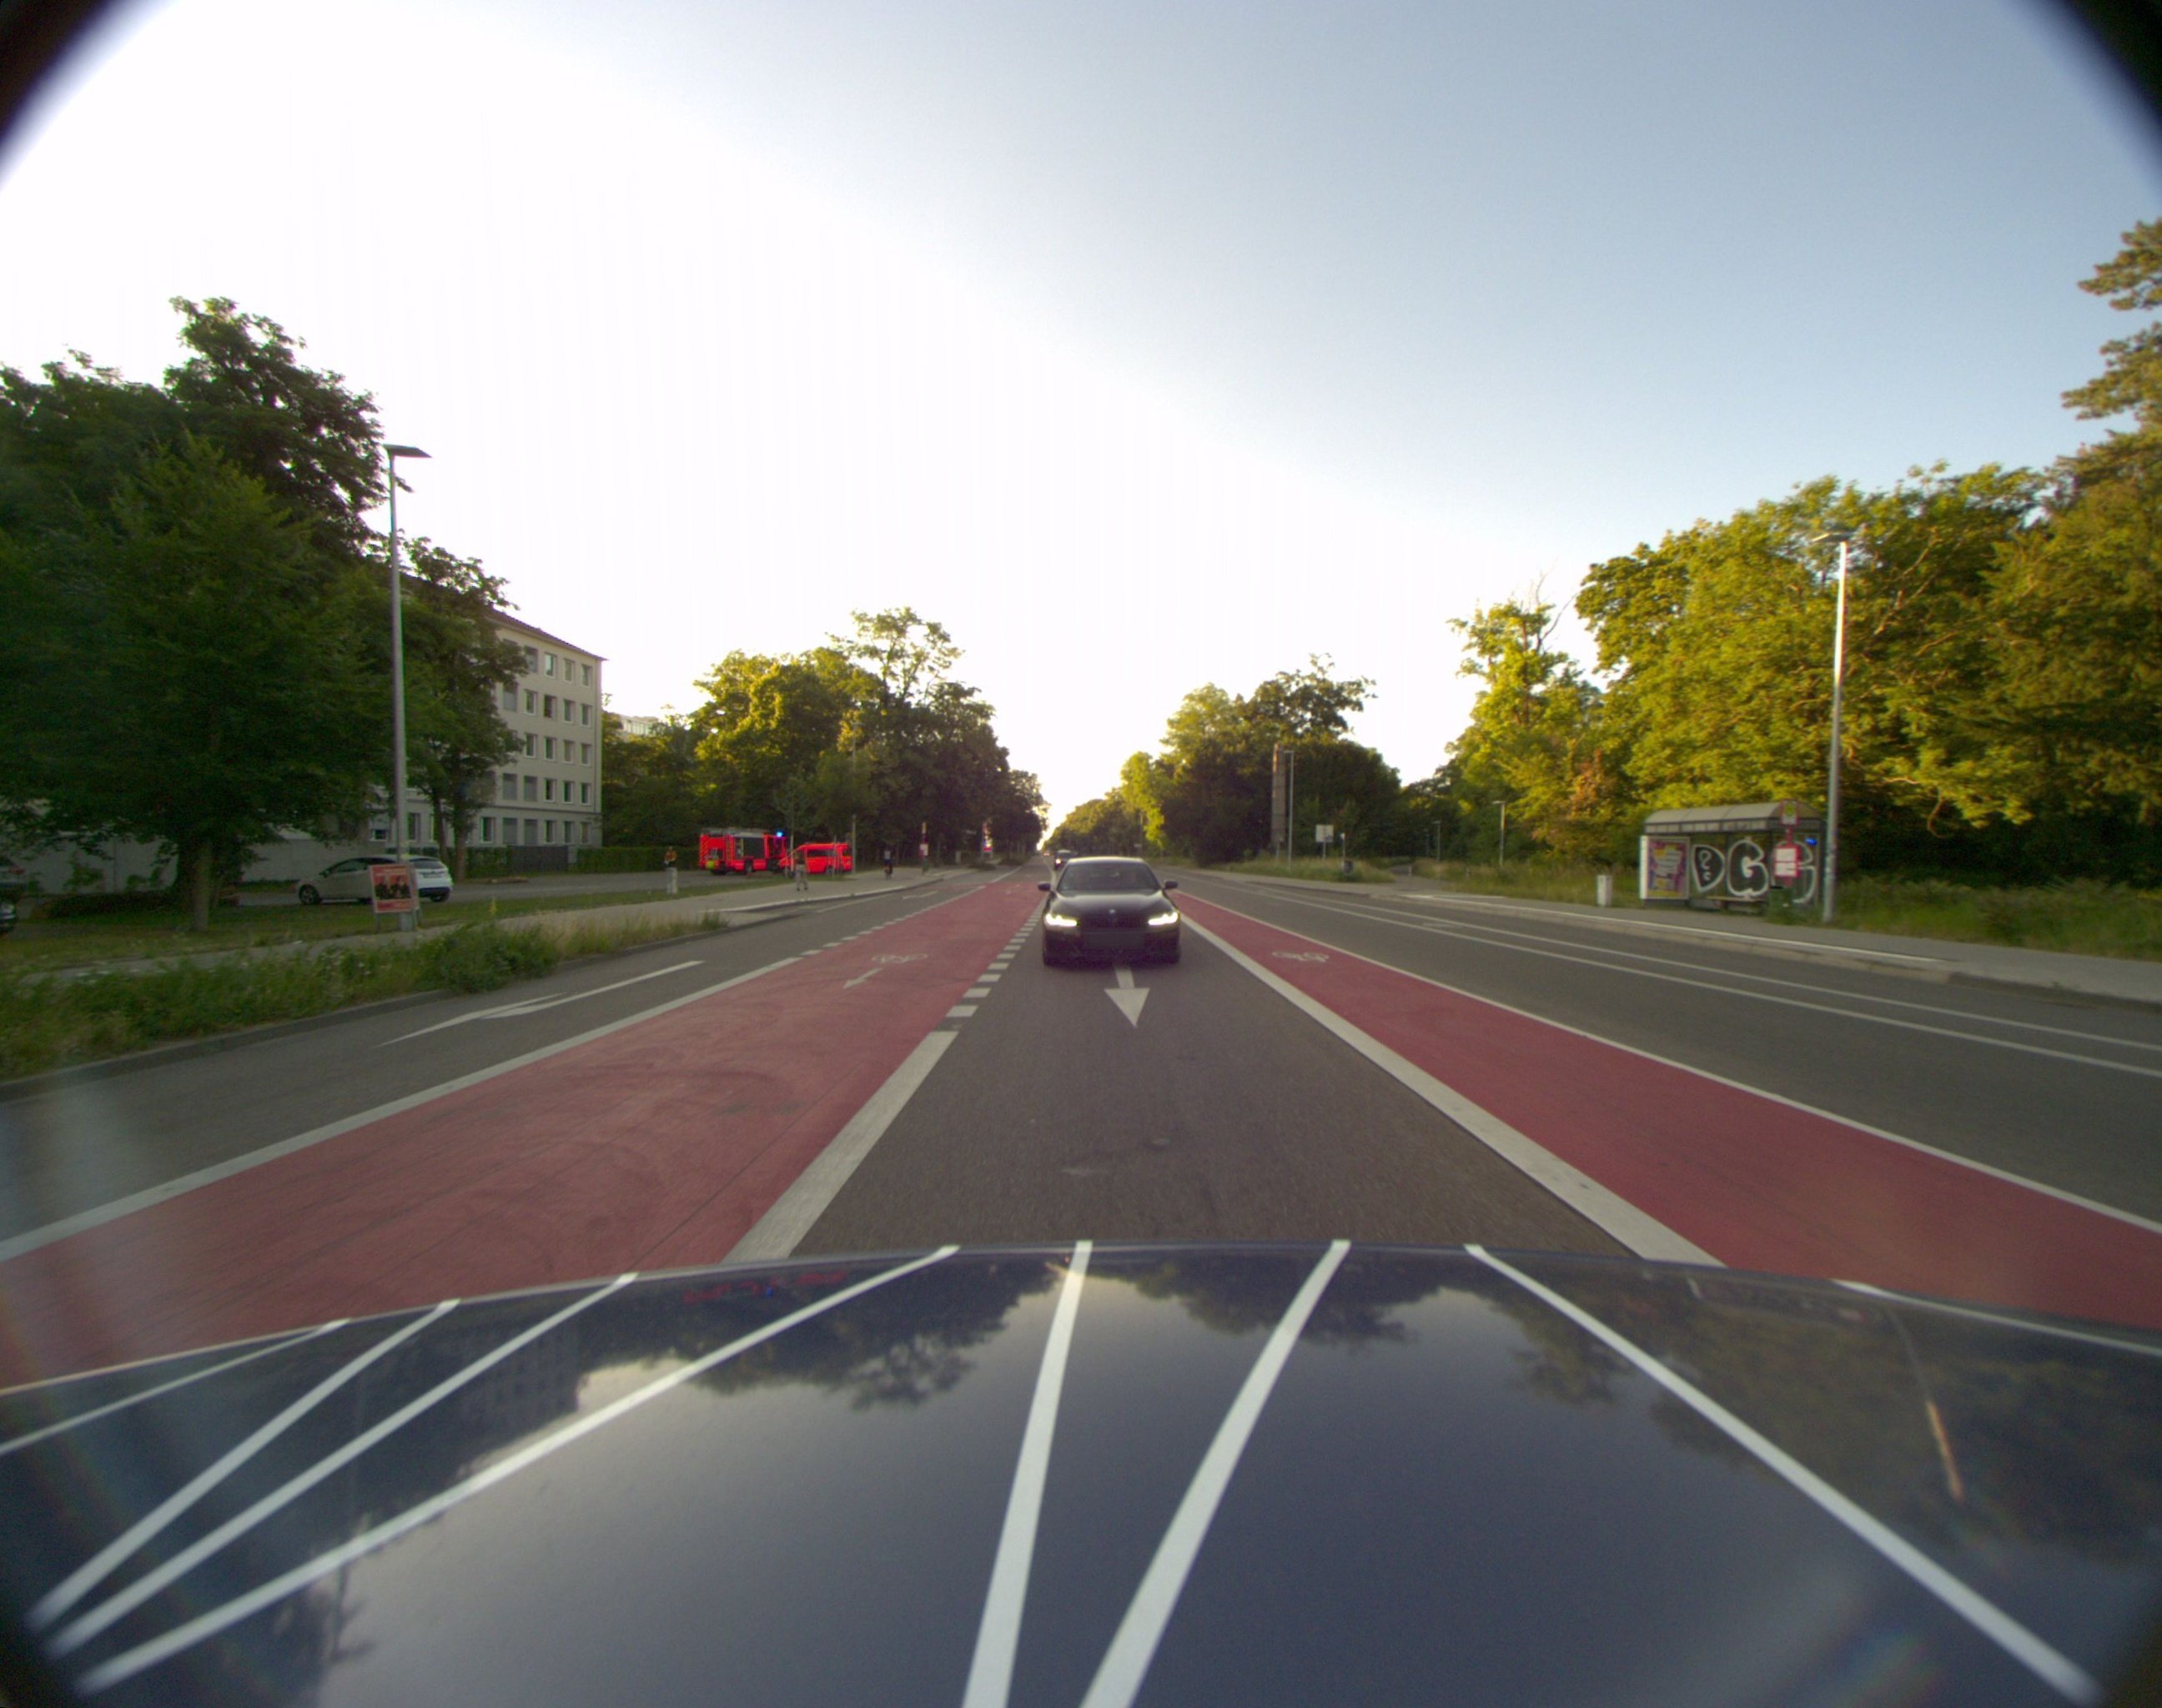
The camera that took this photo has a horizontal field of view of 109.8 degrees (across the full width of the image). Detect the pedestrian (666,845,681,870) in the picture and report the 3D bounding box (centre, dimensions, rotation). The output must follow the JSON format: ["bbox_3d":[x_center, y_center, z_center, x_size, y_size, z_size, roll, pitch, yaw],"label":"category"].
[{"bbox_3d":[-29.707,0.244,55.395,0.843,1.831,0.684,1,1,43],"label":"pedestrian"}]

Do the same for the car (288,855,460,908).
[{"bbox_3d":[-20.783,0.779,22.418,3.662,1.451,1.665,0,1,5],"label":"car"}]

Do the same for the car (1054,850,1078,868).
[{"bbox_3d":[-1.354,0.386,66.915,1.851,1.473,4.701,-2,1,-4],"label":"car"}]

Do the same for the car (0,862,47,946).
[{"bbox_3d":[-21.161,0.878,12.999,4.516,1.455,1.919,0,1,3],"label":"car"}]

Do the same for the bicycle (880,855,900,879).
[{"bbox_3d":[-10.139,0.674,40.475,0.571,1.233,1.899,0,1,1],"label":"bicycle"}]

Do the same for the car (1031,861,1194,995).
[{"bbox_3d":[0.383,0.880,11.360,1.818,1.391,5.213,-2,1,0],"label":"car"}]

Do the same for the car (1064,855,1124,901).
[{"bbox_3d":[0.357,0.766,26.463,1.850,1.346,4.702,-2,1,-1],"label":"car"}]

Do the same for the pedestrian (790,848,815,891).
[{"bbox_3d":[-10.752,0.590,29.333,0.682,1.613,0.688,0,0,0],"label":"pedestrian"}]

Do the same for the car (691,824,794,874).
[{"bbox_3d":[-23.662,-0.364,53.766,2.770,3.225,8.301,0,1,7],"label":"car"}]

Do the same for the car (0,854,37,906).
[{"bbox_3d":[-32.253,0.737,21.655,3.308,1.451,1.772,0,1,13],"label":"car"}]

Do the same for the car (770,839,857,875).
[{"bbox_3d":[-17.977,0.186,51.252,5.164,2.379,2.000,0,1,3],"label":"car"}]

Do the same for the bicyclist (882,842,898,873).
[{"bbox_3d":[-10.139,0.194,40.424,0.571,1.623,1.038,0,1,1],"label":"bicyclist"}]
